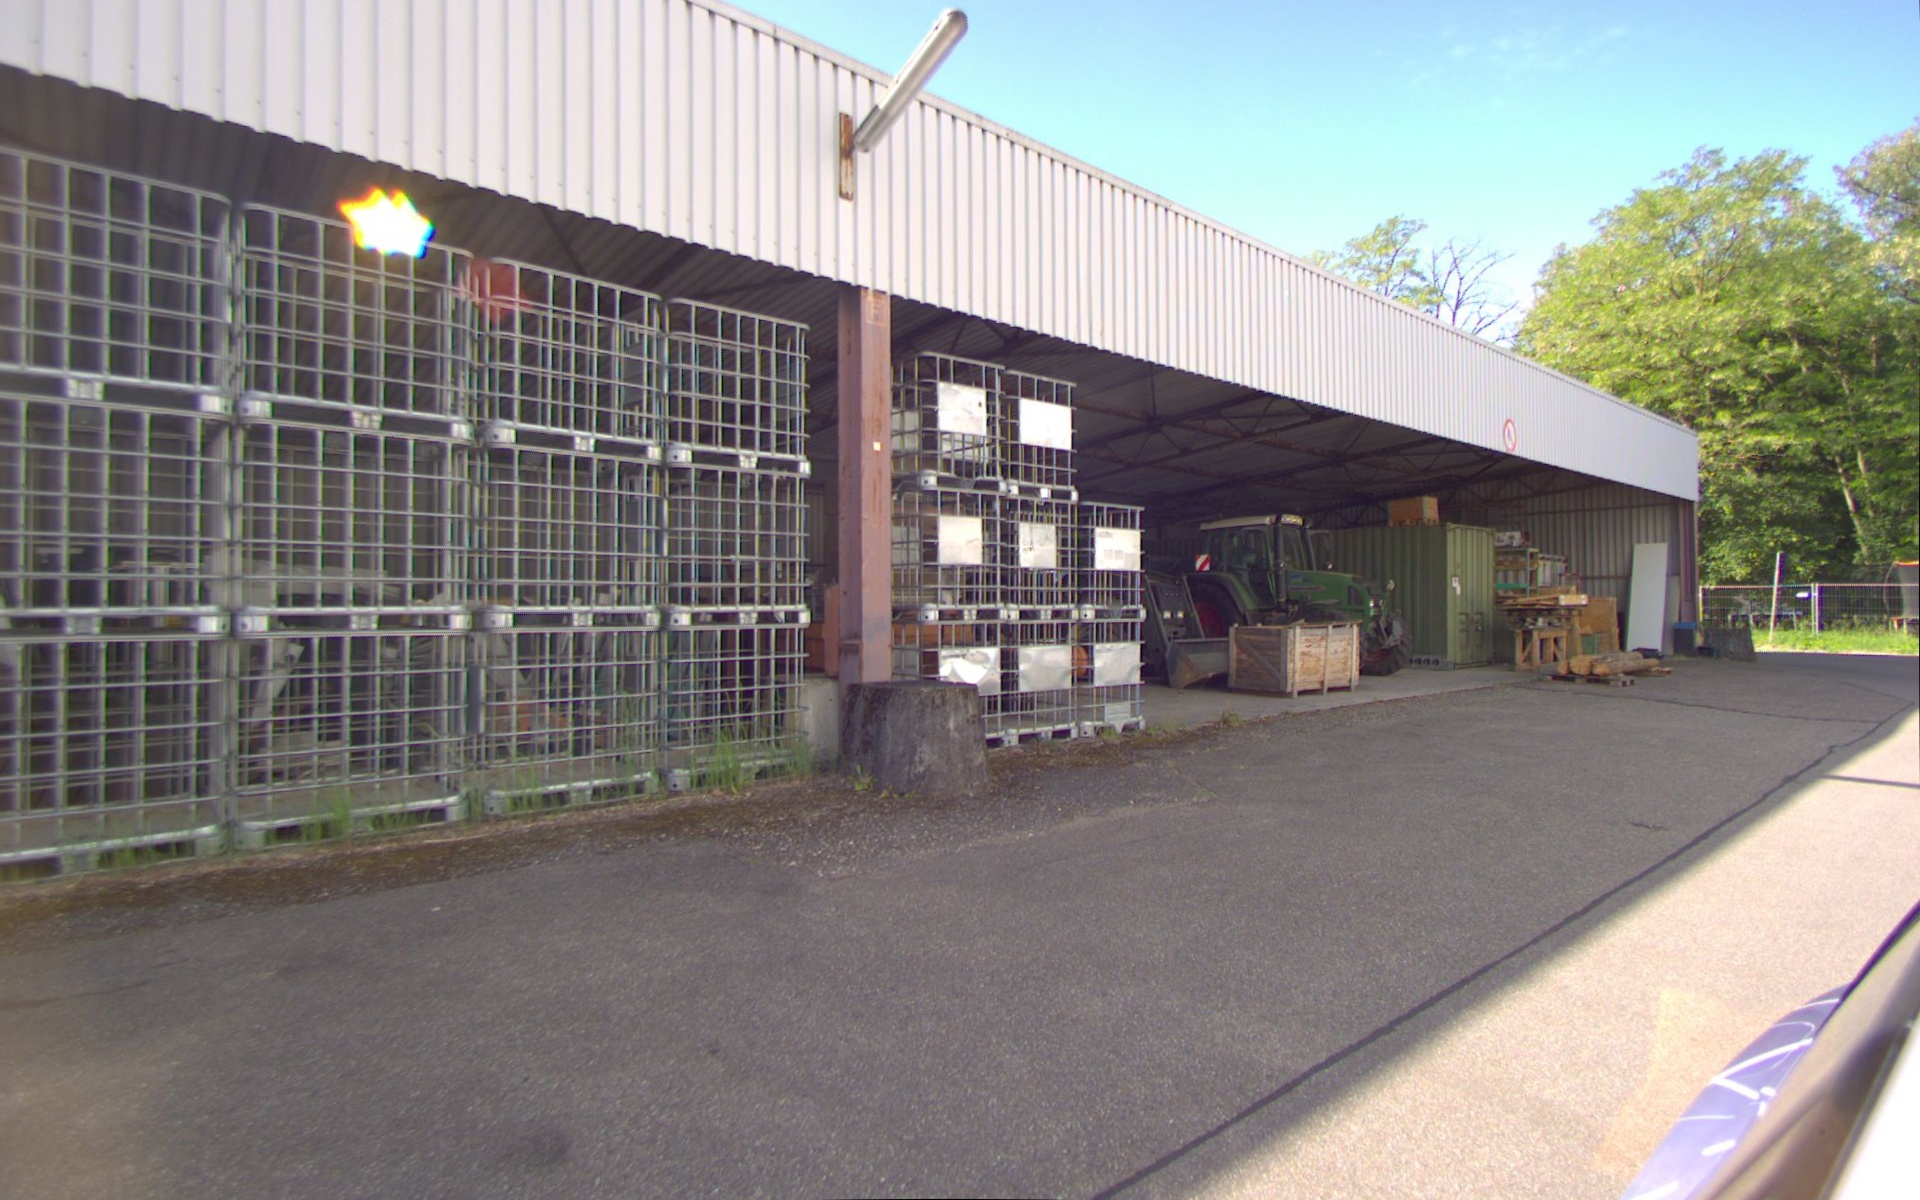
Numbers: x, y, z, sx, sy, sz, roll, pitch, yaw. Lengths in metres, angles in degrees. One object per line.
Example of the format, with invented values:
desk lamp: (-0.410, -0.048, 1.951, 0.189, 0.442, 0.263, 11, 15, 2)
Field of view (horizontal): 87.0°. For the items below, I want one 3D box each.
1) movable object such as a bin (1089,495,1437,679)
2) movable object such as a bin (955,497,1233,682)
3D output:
movable object such as a bin: (5.573, -0.210, 19.374, 2.770, 2.962, 5.845, 0, 0, -40)
movable object such as a bin: (2.293, -0.155, 18.264, 2.453, 2.867, 4.535, 1, -1, -40)
